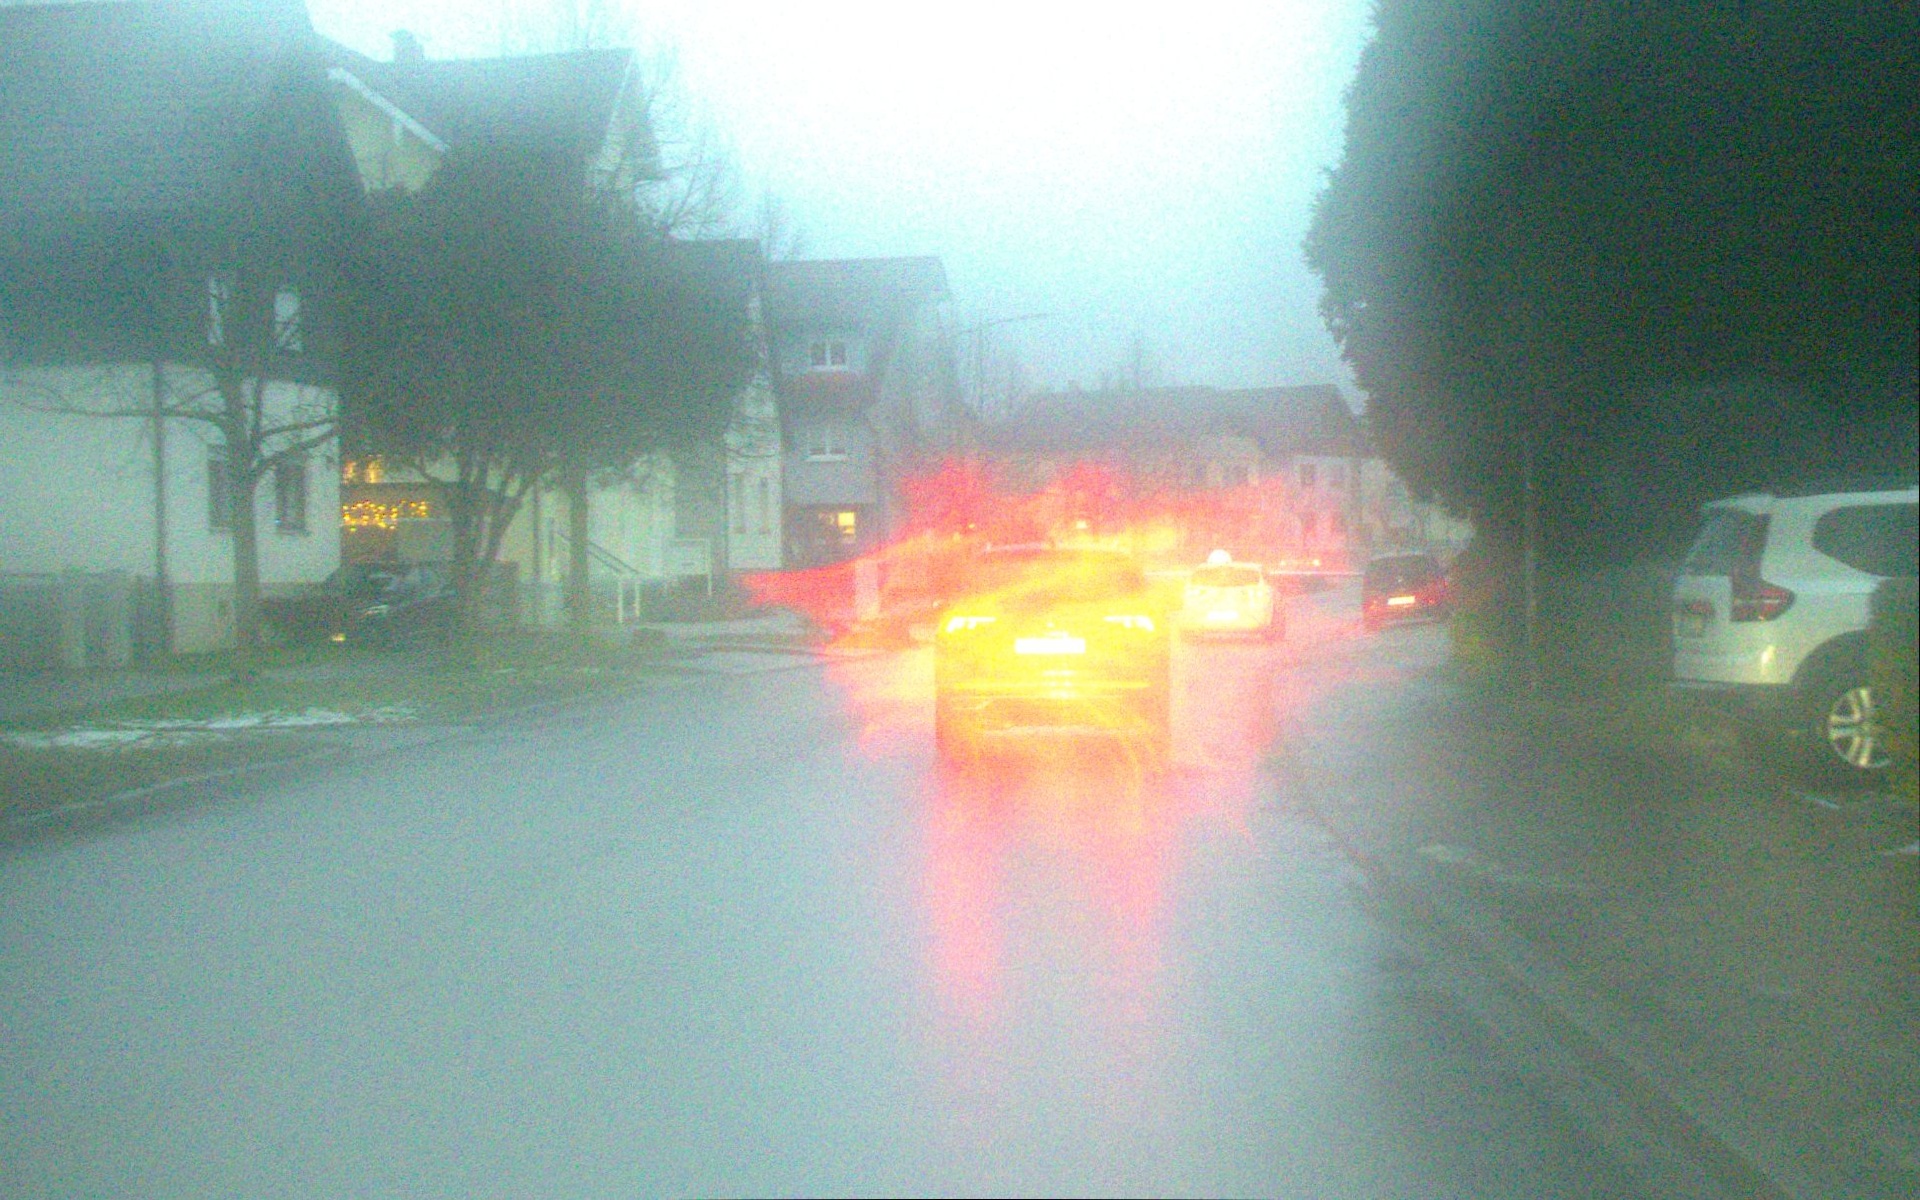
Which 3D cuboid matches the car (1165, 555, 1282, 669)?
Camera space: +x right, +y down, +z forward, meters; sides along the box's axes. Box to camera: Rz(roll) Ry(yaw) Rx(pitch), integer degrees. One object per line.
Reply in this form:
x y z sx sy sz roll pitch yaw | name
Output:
4.878 0.212 63.154 1.994 2.007 3.999 0 0 6 | car

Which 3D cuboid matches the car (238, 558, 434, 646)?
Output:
-9.994 0.029 55.349 1.782 1.361 3.998 0 0 11 | car

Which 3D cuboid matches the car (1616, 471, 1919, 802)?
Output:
6.140 0.105 19.557 4.322 1.726 2.000 -3 1 -1 | car

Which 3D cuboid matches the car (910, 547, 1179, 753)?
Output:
0.658 0.350 27.479 1.993 1.520 4.000 0 1 1 | car

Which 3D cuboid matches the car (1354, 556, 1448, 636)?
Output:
8.916 -0.089 69.374 1.650 1.535 3.389 -2 0 11 | car
